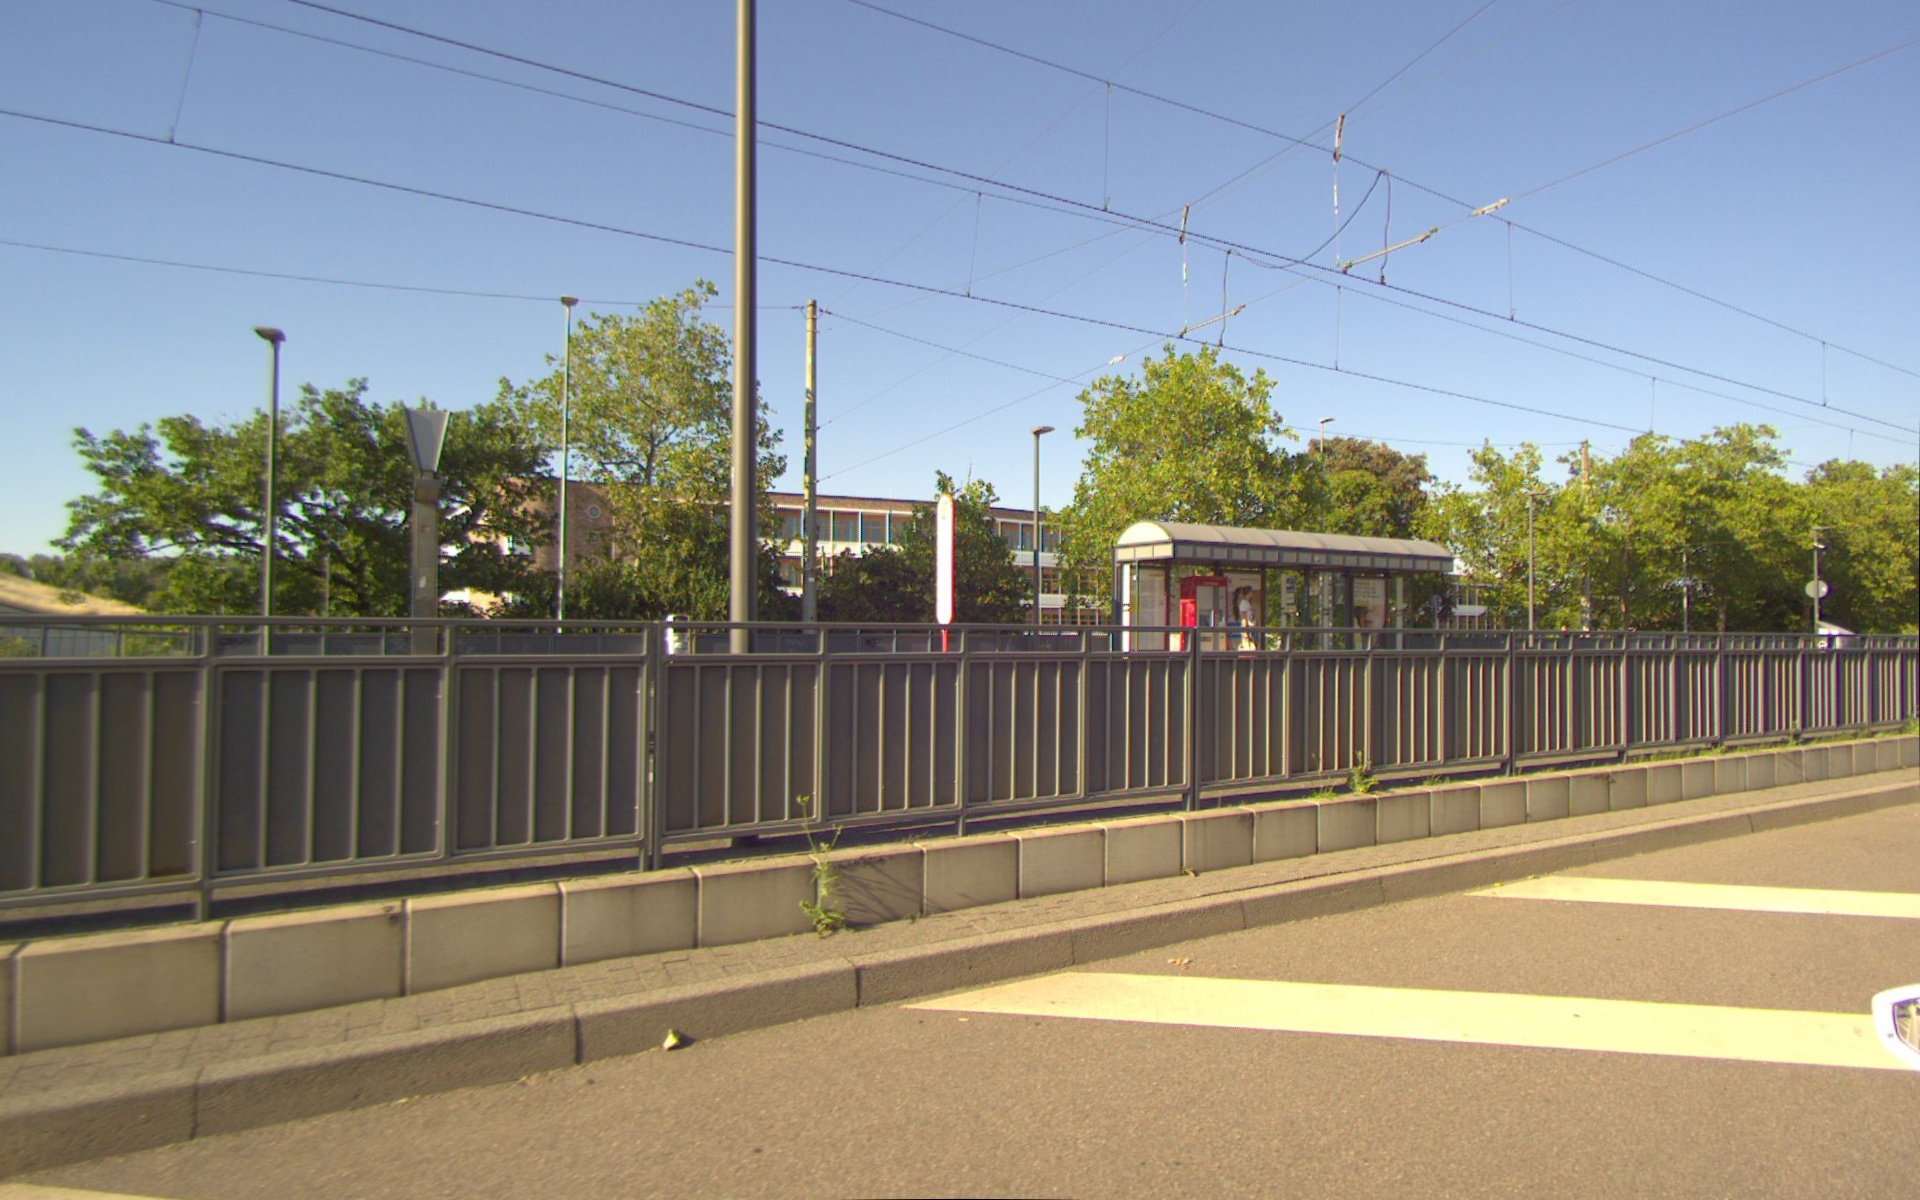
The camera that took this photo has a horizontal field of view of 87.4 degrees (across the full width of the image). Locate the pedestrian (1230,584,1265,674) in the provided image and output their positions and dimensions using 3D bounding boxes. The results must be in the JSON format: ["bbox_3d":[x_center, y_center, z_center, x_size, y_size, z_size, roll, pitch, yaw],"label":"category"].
[{"bbox_3d":[5.824,0.587,20.341,0.577,1.780,0.701,1,-1,23],"label":"pedestrian"}]
